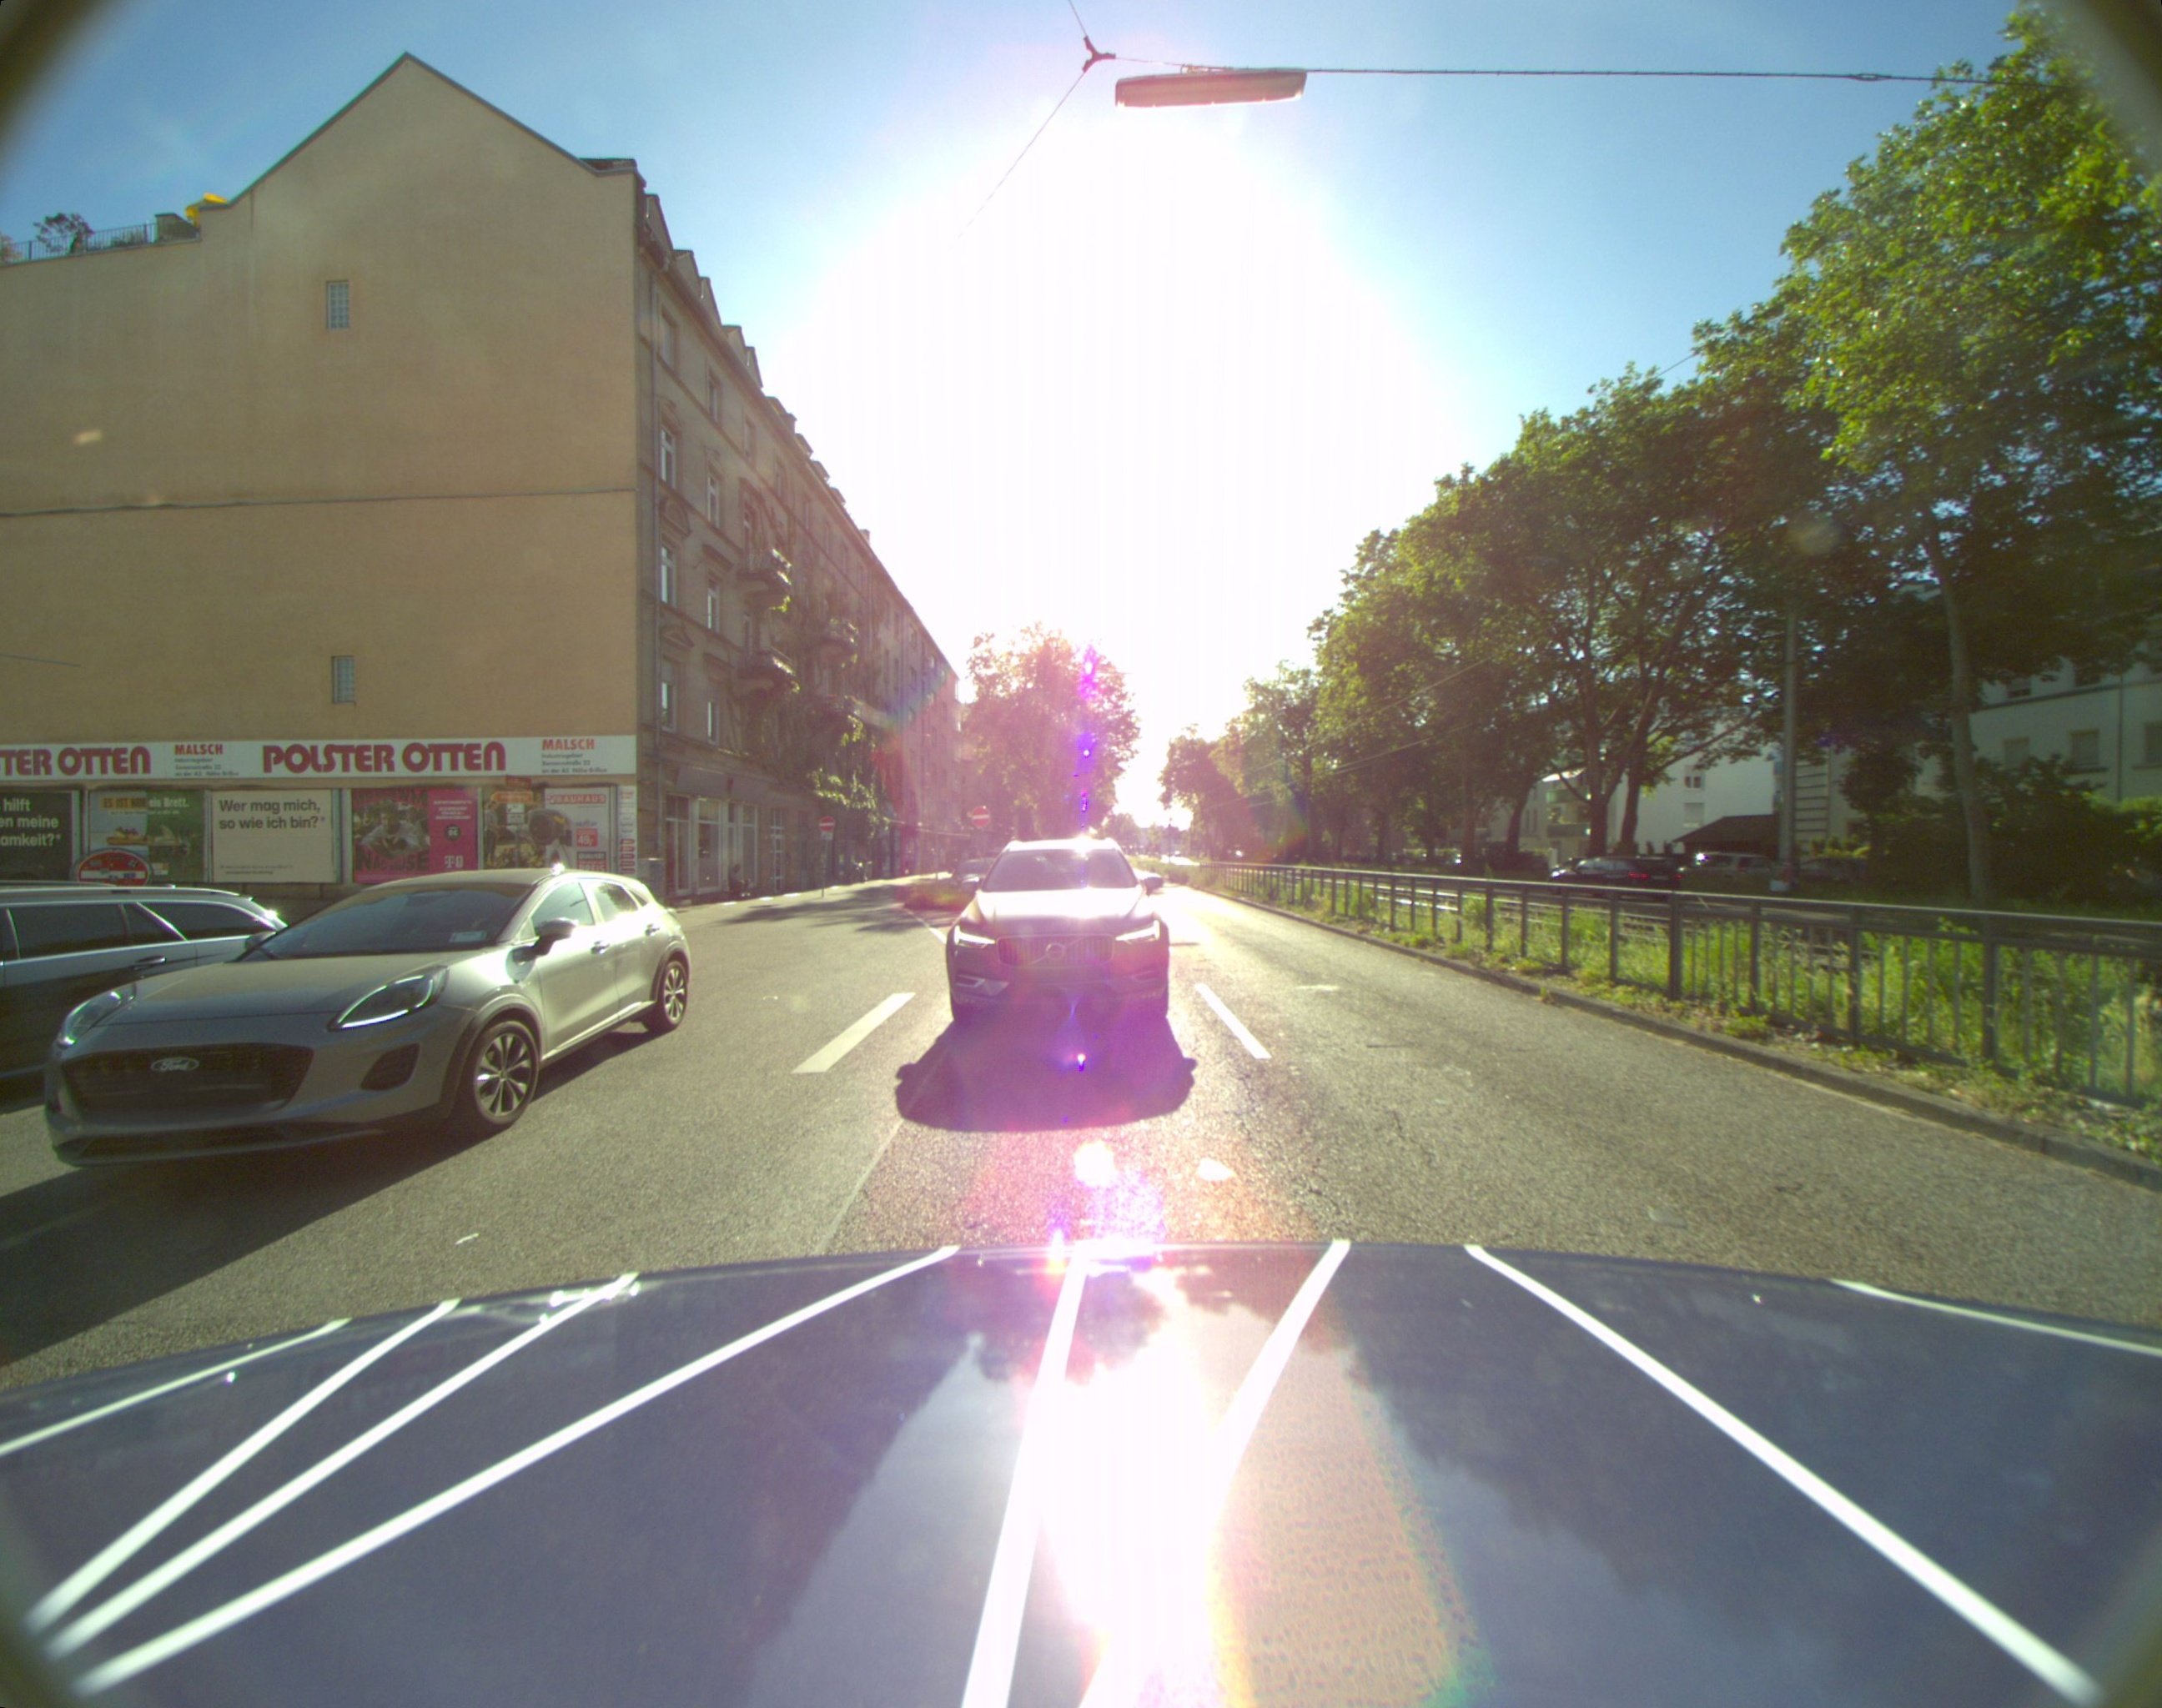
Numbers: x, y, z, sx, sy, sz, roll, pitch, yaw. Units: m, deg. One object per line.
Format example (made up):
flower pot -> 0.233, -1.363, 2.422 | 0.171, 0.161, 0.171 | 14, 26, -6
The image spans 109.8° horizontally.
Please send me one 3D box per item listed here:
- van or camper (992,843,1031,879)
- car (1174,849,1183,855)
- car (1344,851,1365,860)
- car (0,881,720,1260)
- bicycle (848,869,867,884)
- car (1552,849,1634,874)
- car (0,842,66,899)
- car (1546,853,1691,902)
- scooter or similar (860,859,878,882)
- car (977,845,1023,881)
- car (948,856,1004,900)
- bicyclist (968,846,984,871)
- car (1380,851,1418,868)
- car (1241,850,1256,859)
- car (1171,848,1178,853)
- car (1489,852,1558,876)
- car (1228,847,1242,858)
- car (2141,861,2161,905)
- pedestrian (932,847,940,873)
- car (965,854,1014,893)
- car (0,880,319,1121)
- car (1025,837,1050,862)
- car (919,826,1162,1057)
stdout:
van or camper -> -4.039, 0.361, 44.963 | 1.889, 2.002, 5.094 | 0, 0, 0
car -> 26.792, -0.485, 209.019 | 1.862, 1.638, 4.460 | 0, 0, -1
car -> 28.135, 0.121, 78.241 | 1.109, 0.871, 3.060 | 0, 0, 1
car -> -4.389, 1.068, 5.741 | 1.703, 1.519, 4.377 | -1, 0, -8
bicycle -> -11.034, 1.106, 37.512 | 0.469, 0.702, 1.512 | 0, 0, 1
car -> 28.670, 0.378, 42.708 | 1.644, 1.316, 4.460 | 2, 0, 1
car -> -28.702, 0.438, 18.978 | 1.679, 1.455, 3.644 | 0, 2, 3
car -> 17.847, 0.707, 25.530 | 1.688, 1.490, 4.342 | 0, 0, -2
scooter or similar -> -10.963, 0.829, 39.310 | 0.638, 1.167, 1.730 | 0, 1, -24
car -> -4.139, 0.433, 39.438 | 1.869, 1.753, 4.000 | 0, 0, 1
car -> -4.021, 0.882, 29.764 | 1.645, 1.509, 3.999 | -3, 1, -1
bicyclist -> -6.344, 0.255, 45.915 | 0.746, 1.453, 0.951 | -1, 2, 2
car -> 28.564, 0.442, 68.393 | 1.801, 1.464, 4.000 | 0, 0, 1
car -> 27.919, 0.073, 126.937 | 1.771, 1.477, 3.688 | 0, 0, 1
car -> 30.492, -1.047, 247.911 | 1.998, 1.697, 4.001 | 0, 0, 3
car -> 28.646, 0.628, 49.385 | 1.998, 1.444, 4.318 | 0, 0, 1
car -> 27.914, -0.312, 137.633 | 1.998, 2.002, 4.001 | -1, 0, 5
car -> 28.348, 0.751, 18.162 | 1.476, 1.110, 3.217 | 0, 0, -2
pedestrian -> -10.293, 0.422, 54.052 | 0.470, 1.822, 0.516 | 0, 1, 1
car -> -4.046, 0.827, 34.214 | 1.743, 1.509, 3.999 | -3, 1, -1
car -> -8.245, 1.043, 4.883 | 1.837, 1.478, 4.734 | 2, 0, 1
car -> -4.459, -0.429, 77.960 | 2.079, 2.420, 5.856 | -1, 0, 1
car -> -0.262, 0.673, 8.236 | 1.876, 1.788, 4.633 | -1, 0, 1
